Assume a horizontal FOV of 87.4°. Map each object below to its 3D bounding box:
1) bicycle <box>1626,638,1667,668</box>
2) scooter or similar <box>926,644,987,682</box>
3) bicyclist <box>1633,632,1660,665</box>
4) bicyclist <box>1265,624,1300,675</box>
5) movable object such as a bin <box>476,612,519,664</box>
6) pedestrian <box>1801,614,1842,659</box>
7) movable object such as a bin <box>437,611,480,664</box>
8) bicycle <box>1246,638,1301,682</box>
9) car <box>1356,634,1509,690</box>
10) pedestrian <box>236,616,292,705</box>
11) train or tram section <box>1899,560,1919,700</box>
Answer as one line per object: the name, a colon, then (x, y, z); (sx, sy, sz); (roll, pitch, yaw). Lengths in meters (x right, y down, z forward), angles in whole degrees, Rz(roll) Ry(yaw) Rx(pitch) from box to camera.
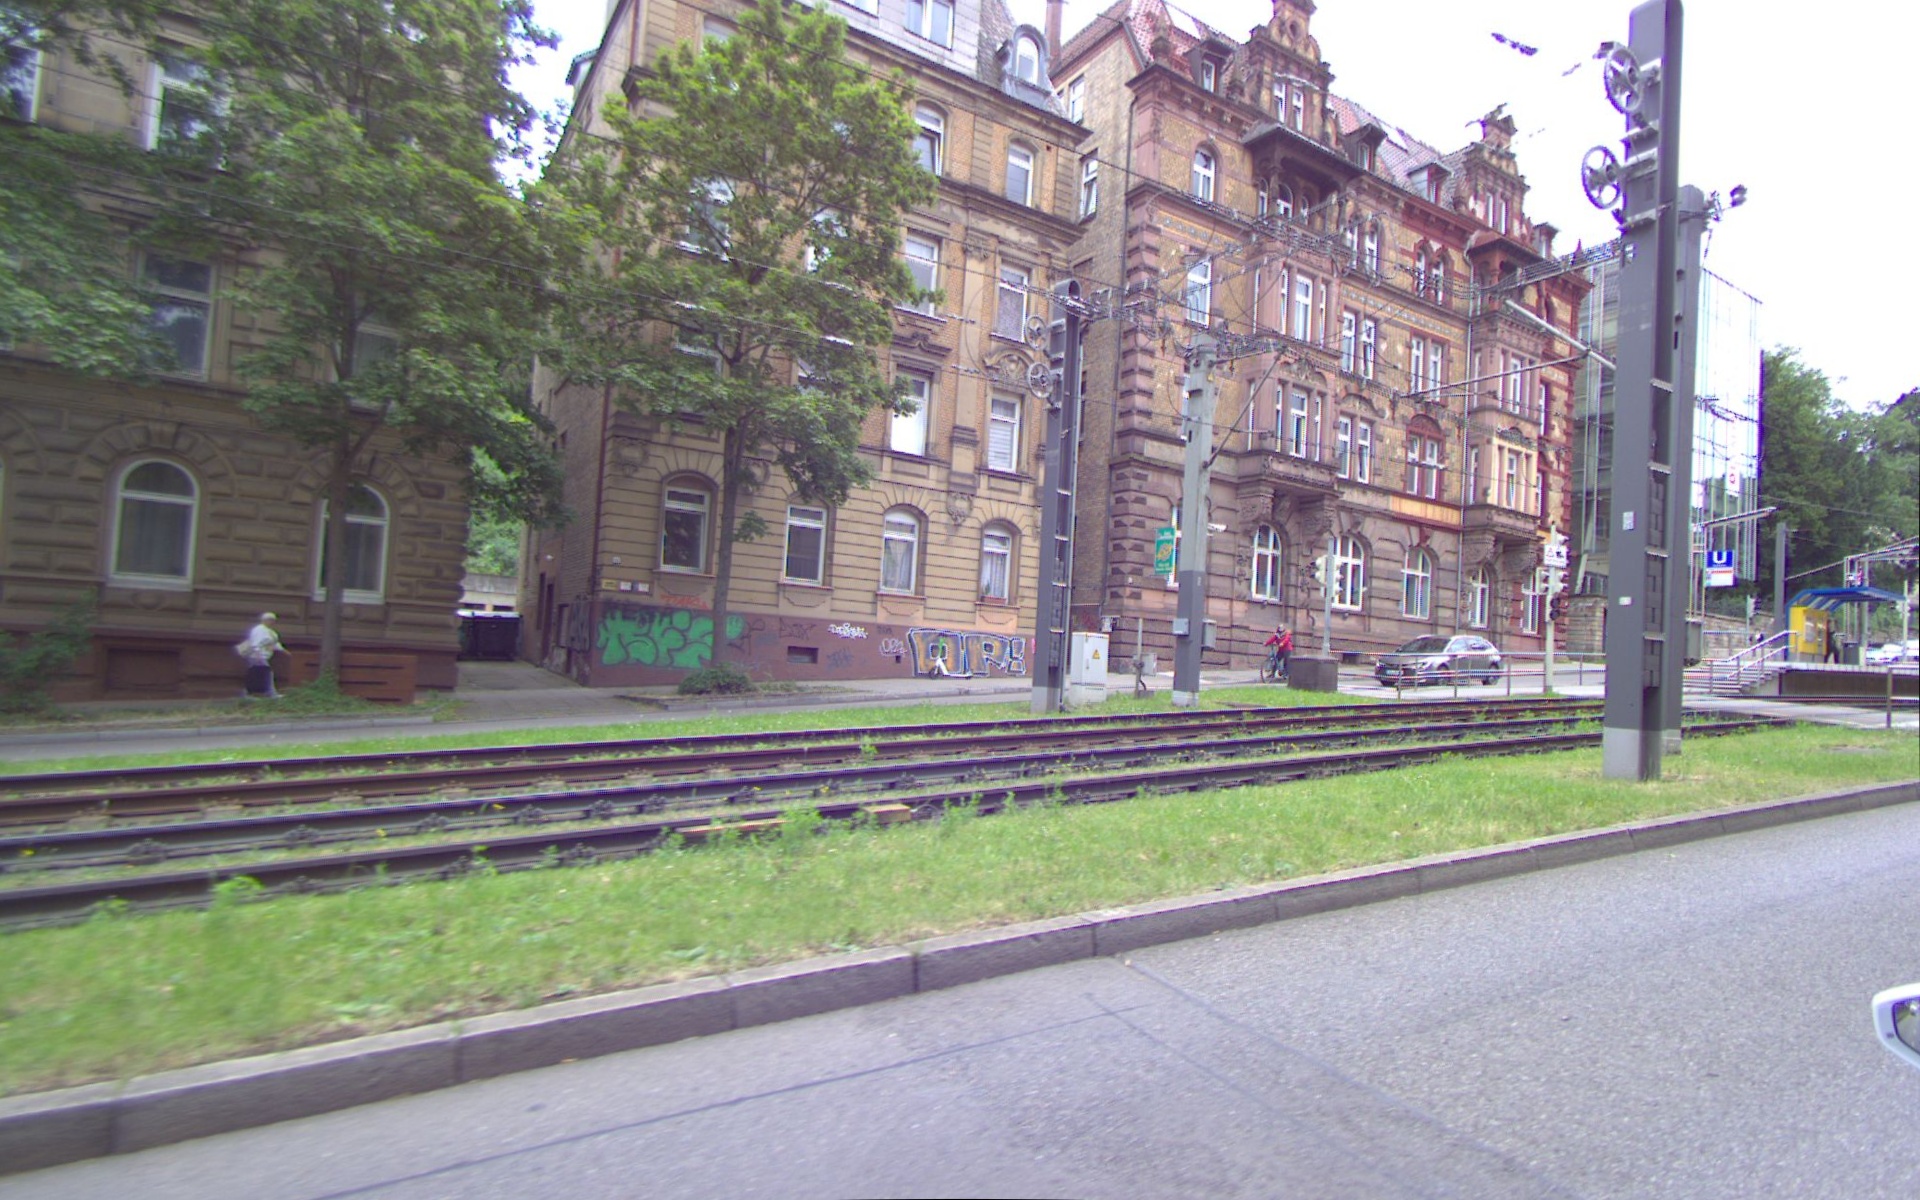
bicycle: (30.345, 2.328, 44.403); (2.403, 1.301, 0.768); (2, -1, -36)
scooter or similar: (-0.081, 1.615, 26.030); (1.567, 0.954, 0.426); (1, -1, -27)
bicyclist: (30.359, 2.151, 44.421); (0.898, 1.446, 0.763); (2, -1, -36)
bicyclist: (9.488, 1.447, 29.590); (0.802, 1.499, 0.615); (1, -1, -30)
movable object such as a bin: (-13.746, 1.120, 29.867); (1.026, 1.477, 1.101); (2, 0, -31)
pedestrian: (31.578, 1.324, 36.822); (0.756, 1.617, 0.971); (1, -1, -31)
movable object such as a bin: (-14.640, 1.091, 29.315); (1.026, 1.477, 1.101); (2, 0, -31)
bicycle: (9.196, 1.746, 29.426); (1.582, 1.239, 0.622); (1, -1, -29)
car: (13.392, 1.704, 28.394); (4.511, 1.437, 1.871); (1, -2, -34)
pedestrian: (-12.230, 1.046, 17.673); (0.731, 1.532, 0.685); (1, -1, -30)
train or tram section: (30.281, 1.151, 27.979); (12.262, 3.589, 2.934); (4, -3, -32)
